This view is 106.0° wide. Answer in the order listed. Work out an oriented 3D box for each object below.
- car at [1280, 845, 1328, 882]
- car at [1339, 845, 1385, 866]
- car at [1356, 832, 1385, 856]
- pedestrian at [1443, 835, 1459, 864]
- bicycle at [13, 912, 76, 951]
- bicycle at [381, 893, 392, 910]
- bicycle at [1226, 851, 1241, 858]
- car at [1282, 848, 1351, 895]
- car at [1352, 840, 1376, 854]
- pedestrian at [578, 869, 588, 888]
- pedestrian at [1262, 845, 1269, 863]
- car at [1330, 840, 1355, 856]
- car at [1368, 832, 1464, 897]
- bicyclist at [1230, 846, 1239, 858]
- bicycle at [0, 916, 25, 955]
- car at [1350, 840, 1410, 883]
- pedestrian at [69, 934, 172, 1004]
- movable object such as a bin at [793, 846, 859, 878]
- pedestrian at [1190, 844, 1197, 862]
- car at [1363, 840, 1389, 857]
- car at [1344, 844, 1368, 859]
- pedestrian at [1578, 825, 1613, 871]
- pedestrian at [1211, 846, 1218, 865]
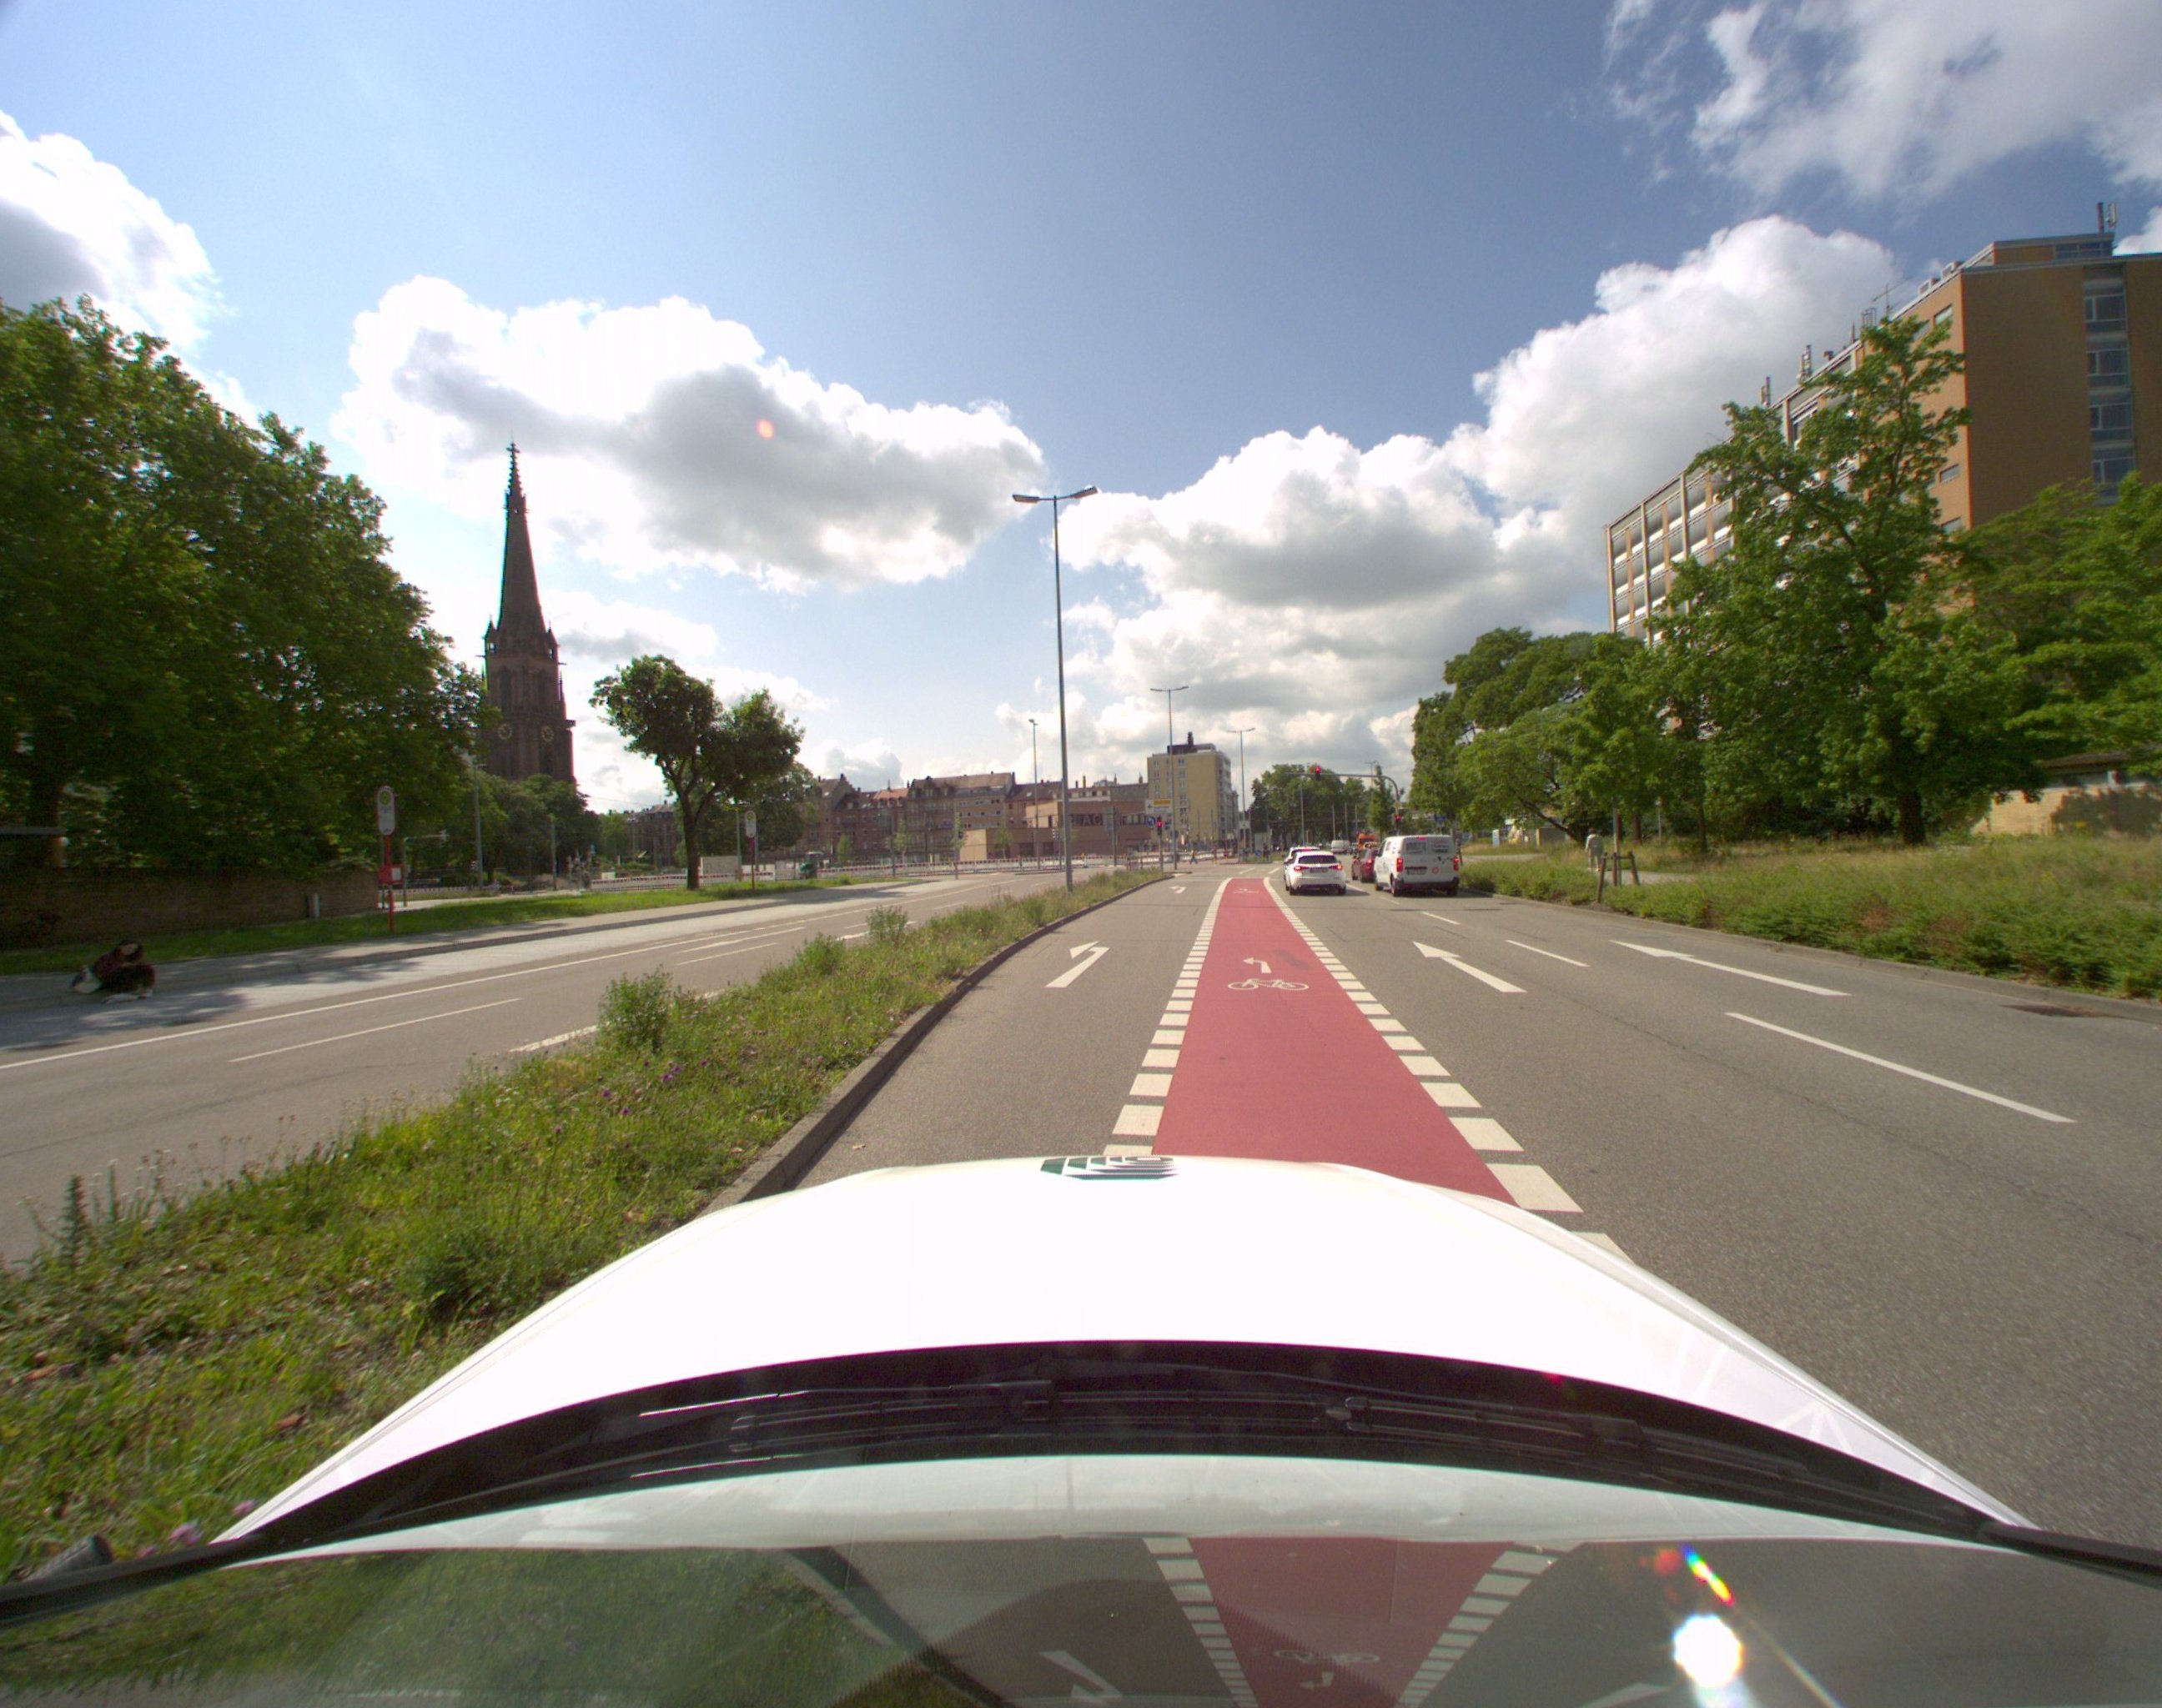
[{"bbox_3d":[9.914,0.380,36.445,1.779,1.539,4.024,-1,0,11],"label":"car"},{"bbox_3d":[25.333,0.134,73.322,4.017,1.816,1.978,1,0,-36],"label":"car"},{"bbox_3d":[35.236,-1.280,99.003,2.109,2.780,4.669,-3,-1,35],"label":"car"},{"bbox_3d":[22.954,-0.296,50.563,0.737,1.735,0.681,-2,0,14],"label":"pedestrian"},{"bbox_3d":[-30.040,2.231,23.616,0.352,1.011,1.250,-2,0,-10],"label":"bicycle"},{"bbox_3d":[-41.096,2.798,48.174,0.396,0.992,1.505,-2,-1,-38],"label":"bicycle"},{"bbox_3d":[26.098,0.120,139.287,2.356,1.066,0.864,-2,0,31],"label":"bicycle"},{"bbox_3d":[7.998,0.549,28.033,1.891,1.424,4.399,-2,0,11],"label":"car"},{"bbox_3d":[37.801,-0.943,108.746,1.974,1.826,4.026,-3,-1,36],"label":"car"},{"bbox_3d":[-48.927,2.429,80.035,0.523,1.850,0.502,-3,-1,17],"label":"pedestrian"},{"bbox_3d":[17.583,-0.038,77.592,0.520,1.684,0.627,-2,0,20],"label":"pedestrian"},{"bbox_3d":[35.761,-0.860,111.256,1.986,1.966,4.669,-3,-1,35],"label":"car"},{"bbox_3d":[10.722,0.282,26.432,1.929,1.870,4.841,-2,0,11],"label":"car"},{"bbox_3d":[26.236,-0.307,139.195,1.207,1.909,0.864,-2,0,31],"label":"bicyclist"},{"bbox_3d":[-29.644,2.247,22.076,0.391,1.011,1.365,-2,0,-10],"label":"bicycle"},{"bbox_3d":[12.600,0.279,34.578,1.670,1.641,4.476,-2,0,11],"label":"car"},{"bbox_3d":[-14.732,1.756,12.504,0.690,0.963,0.745,-2,0,9],"label":"pedestrian"},{"bbox_3d":[-24.726,0.755,79.076,5.567,2.885,2.263,-2,-1,-36],"label":"movable object such as a bin"},{"bbox_3d":[10.917,-0.090,79.215,0.520,1.733,0.627,-2,0,20],"label":"pedestrian"},{"bbox_3d":[32.214,-0.611,88.806,1.974,1.795,4.025,-3,-1,28],"label":"car"},{"bbox_3d":[40.057,-0.353,118.436,1.972,1.938,4.669,-3,-1,35],"label":"car"},{"bbox_3d":[19.146,-0.213,30.310,0.862,1.638,0.723,-2,0,12],"label":"pedestrian"},{"bbox_3d":[12.702,0.153,77.464,0.520,1.733,0.627,-2,0,20],"label":"pedestrian"}]
